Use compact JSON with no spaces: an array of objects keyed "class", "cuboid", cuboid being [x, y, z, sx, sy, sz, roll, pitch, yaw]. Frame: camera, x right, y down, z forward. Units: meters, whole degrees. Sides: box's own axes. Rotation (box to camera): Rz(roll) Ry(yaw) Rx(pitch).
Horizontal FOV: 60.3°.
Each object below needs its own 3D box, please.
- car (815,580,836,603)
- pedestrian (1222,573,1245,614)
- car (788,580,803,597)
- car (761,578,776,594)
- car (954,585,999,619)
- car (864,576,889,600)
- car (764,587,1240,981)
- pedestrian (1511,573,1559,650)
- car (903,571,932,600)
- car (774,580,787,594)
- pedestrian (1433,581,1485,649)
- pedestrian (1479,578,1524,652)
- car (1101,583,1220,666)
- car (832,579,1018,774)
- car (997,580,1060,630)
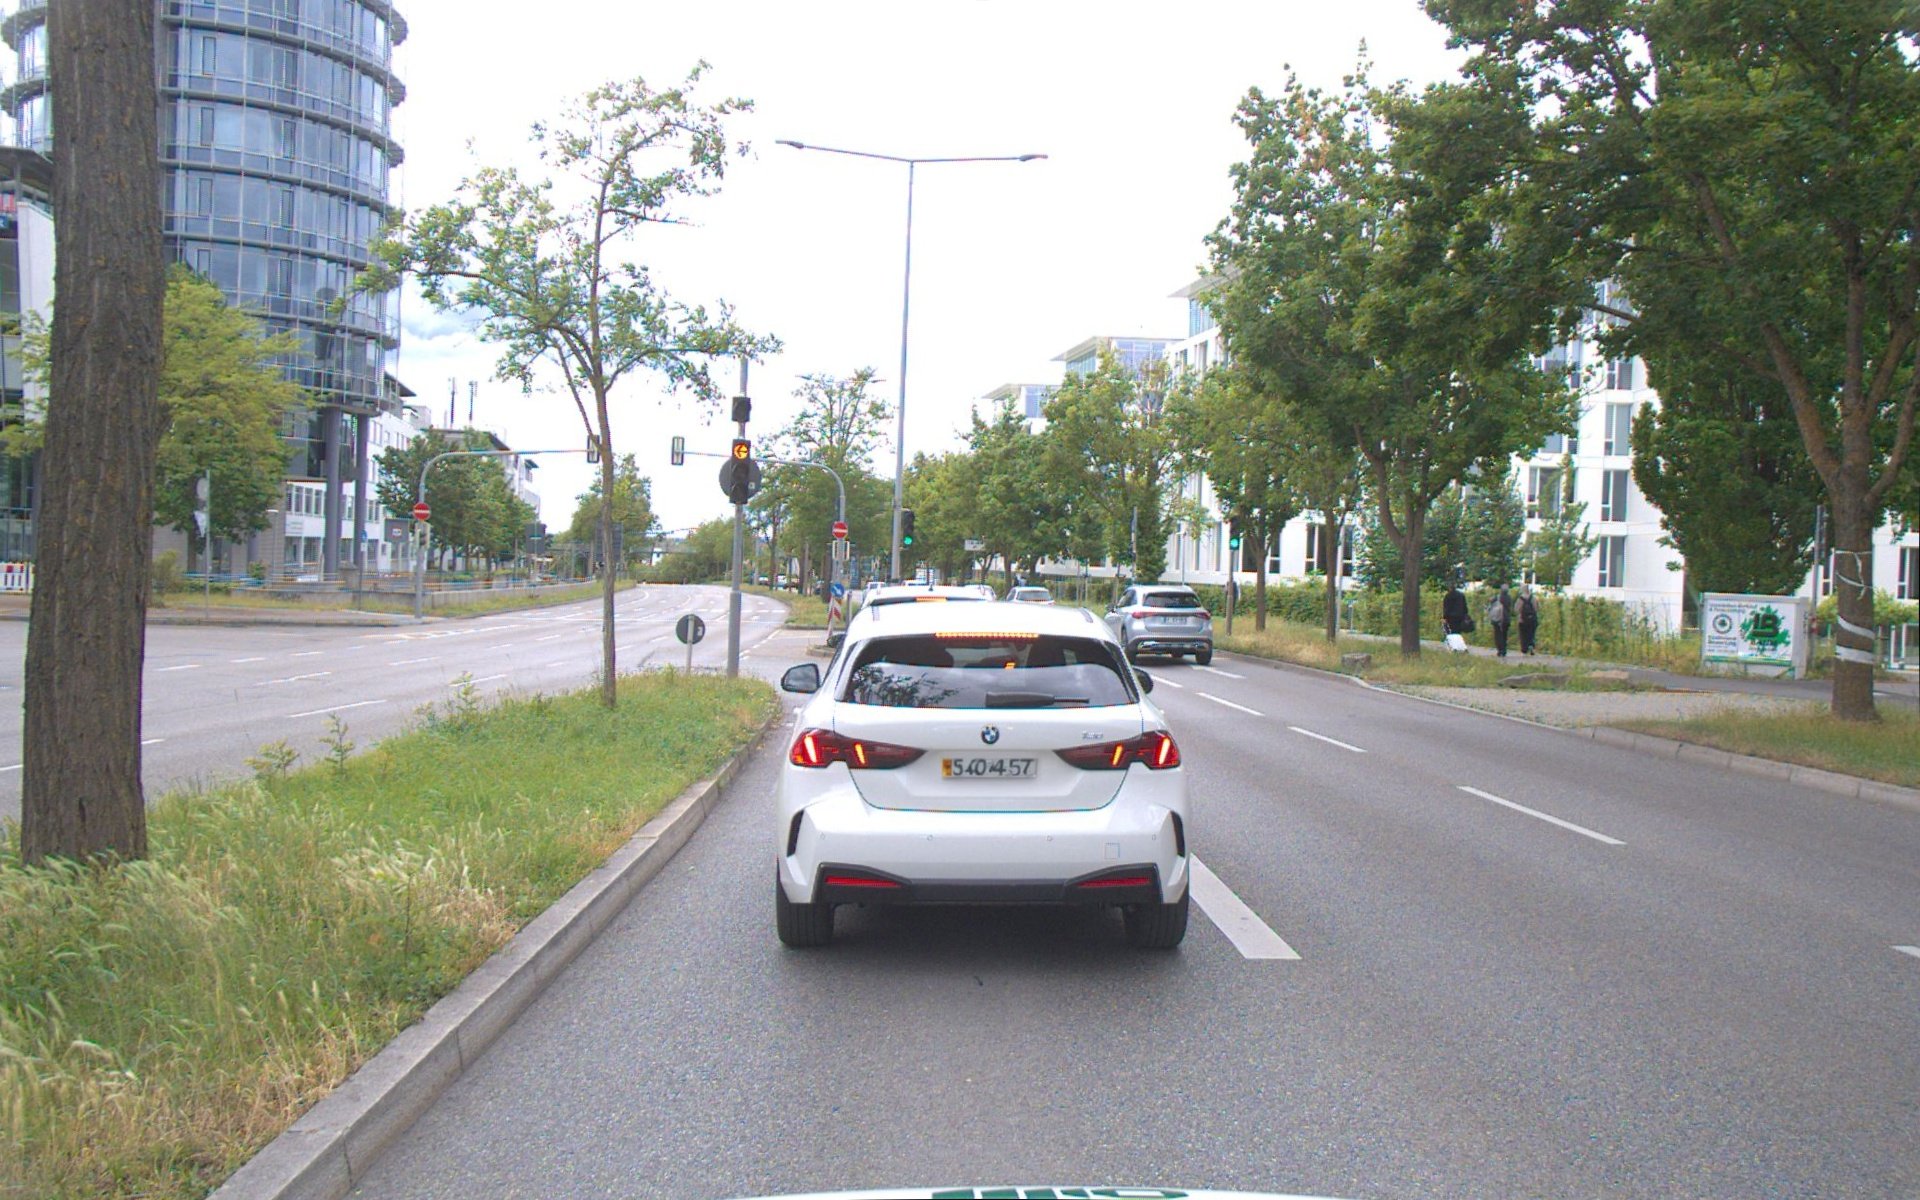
[{"class":"car","cuboid":[-10.559,-0.678,130.195,1.570,1.695,3.997,1,0,-4]},{"class":"pedestrian","cuboid":[10.691,-0.259,64.646,0.726,1.601,0.674,1,-1,-2]},{"class":"car","cuboid":[-20.785,-1.438,209.476,1.803,2.049,3.994,1,0,-7]},{"class":"car","cuboid":[-25.009,-1.850,215.945,1.803,2.049,3.994,1,0,-7]},{"class":"car","cuboid":[0.761,0.061,76.910,1.660,1.512,3.689,1,0,-6]},{"class":"car","cuboid":[-6.109,-0.894,121.372,1.704,1.695,3.998,1,0,-2]},{"class":"car","cuboid":[0.135,0.696,8.328,1.785,1.463,3.999,1,0,-1]},{"class":"pedestrian","cuboid":[12.921,0.260,37.183,0.751,1.715,0.883,1,-1,-2]},{"class":"car","cuboid":[-2.604,-0.903,101.272,1.570,1.695,3.997,1,0,-4]},{"class":"car","cuboid":[-25.689,-1.842,236.503,1.803,2.049,3.994,1,0,-7]},{"class":"pedestrian","cuboid":[11.082,0.324,36.777,0.773,1.473,1.111,1,0,-2]},{"class":"pedestrian","cuboid":[12.090,0.342,36.966,0.685,1.623,0.883,1,0,-2]},{"class":"car","cuboid":[4.259,0.488,35.720,1.953,1.699,3.999,0,0,-2]},{"class":"car","cuboid":[-0.318,0.629,15.840,1.518,1.596,3.999,1,0,-1]},{"class":"car","cuboid":[2.479,0.167,60.860,1.663,1.747,3.994,1,0,-7]}]
